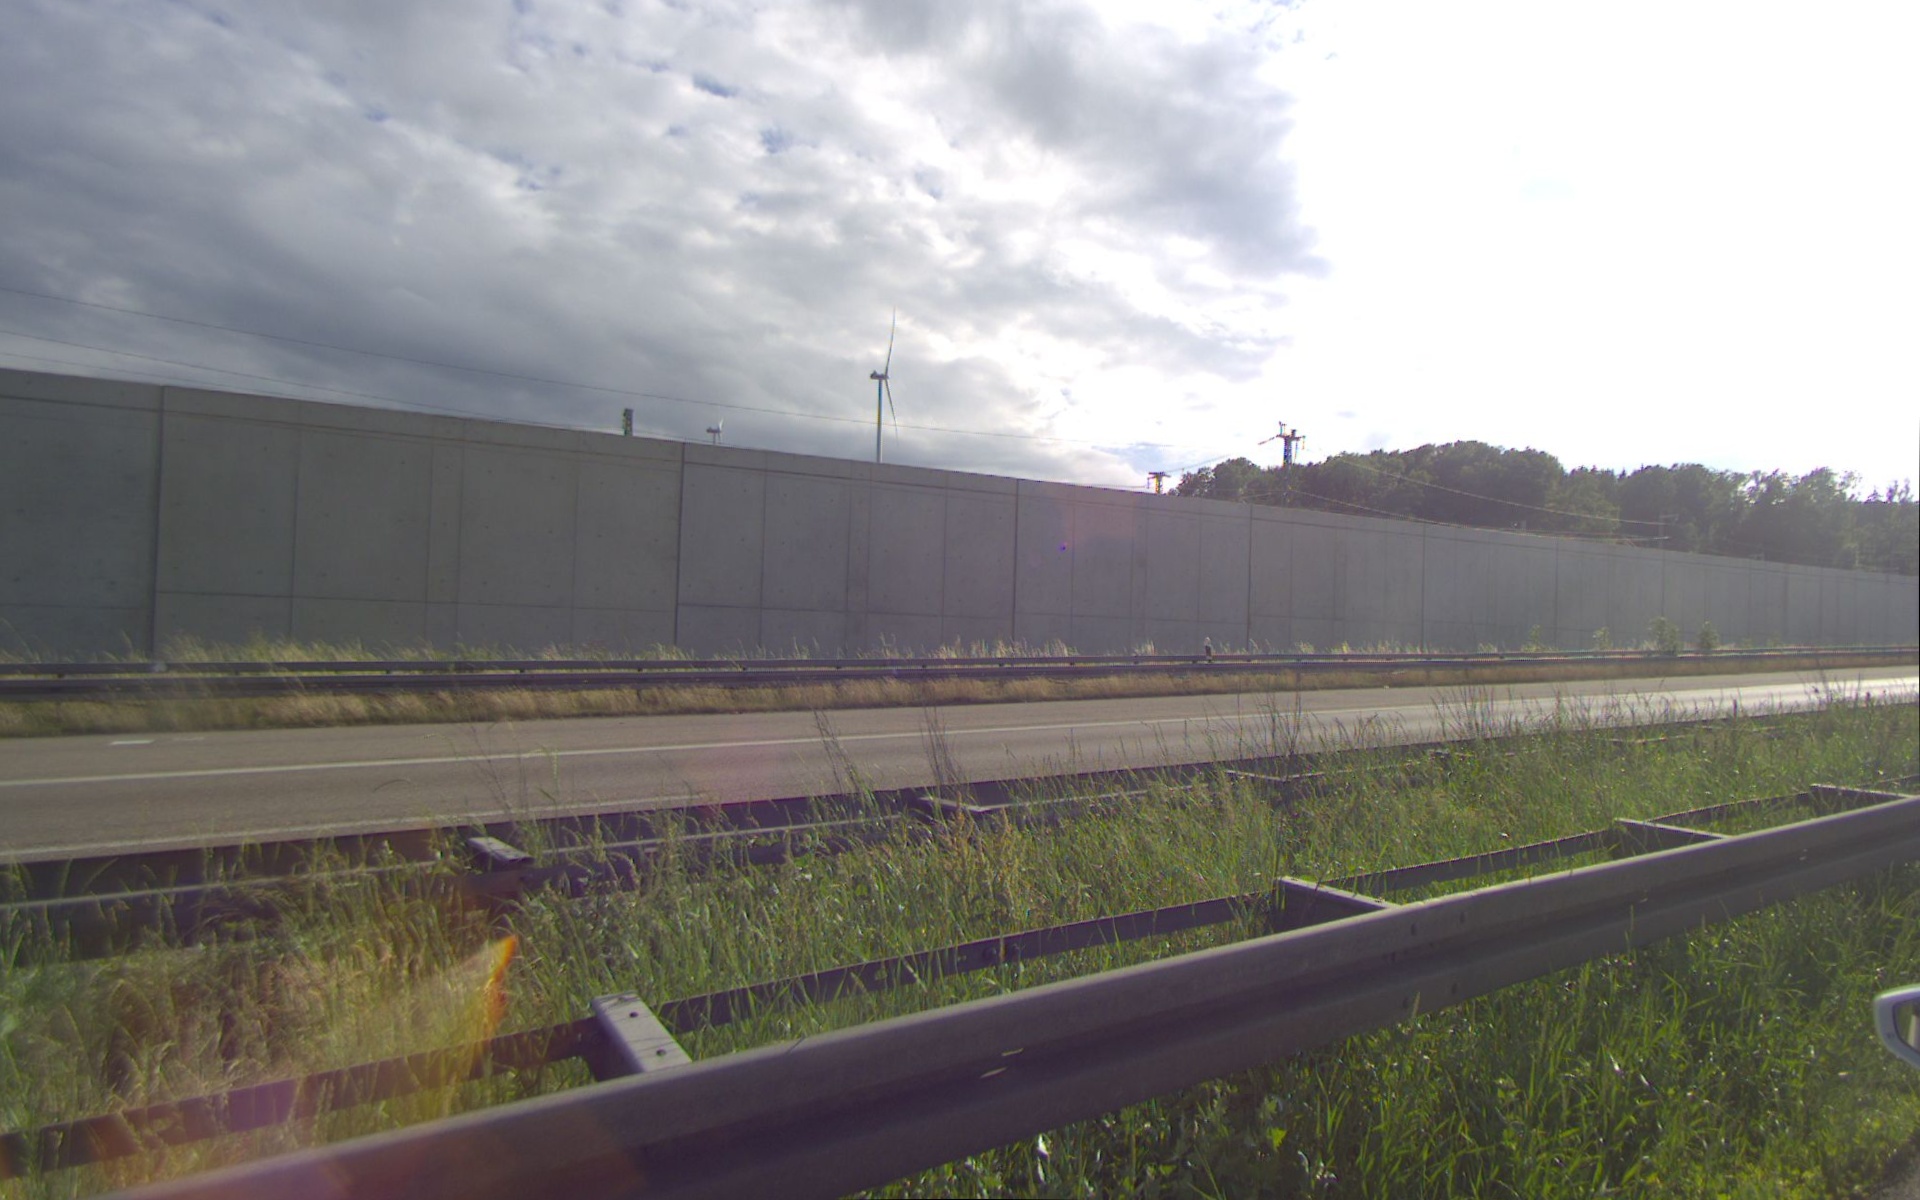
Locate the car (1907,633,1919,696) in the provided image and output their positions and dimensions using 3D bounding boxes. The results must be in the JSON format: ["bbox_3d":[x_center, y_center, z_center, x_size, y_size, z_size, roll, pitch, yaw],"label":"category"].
[{"bbox_3d":[25.109,1.613,24.351,4.347,1.506,1.984,2,0,-30],"label":"car"}]
